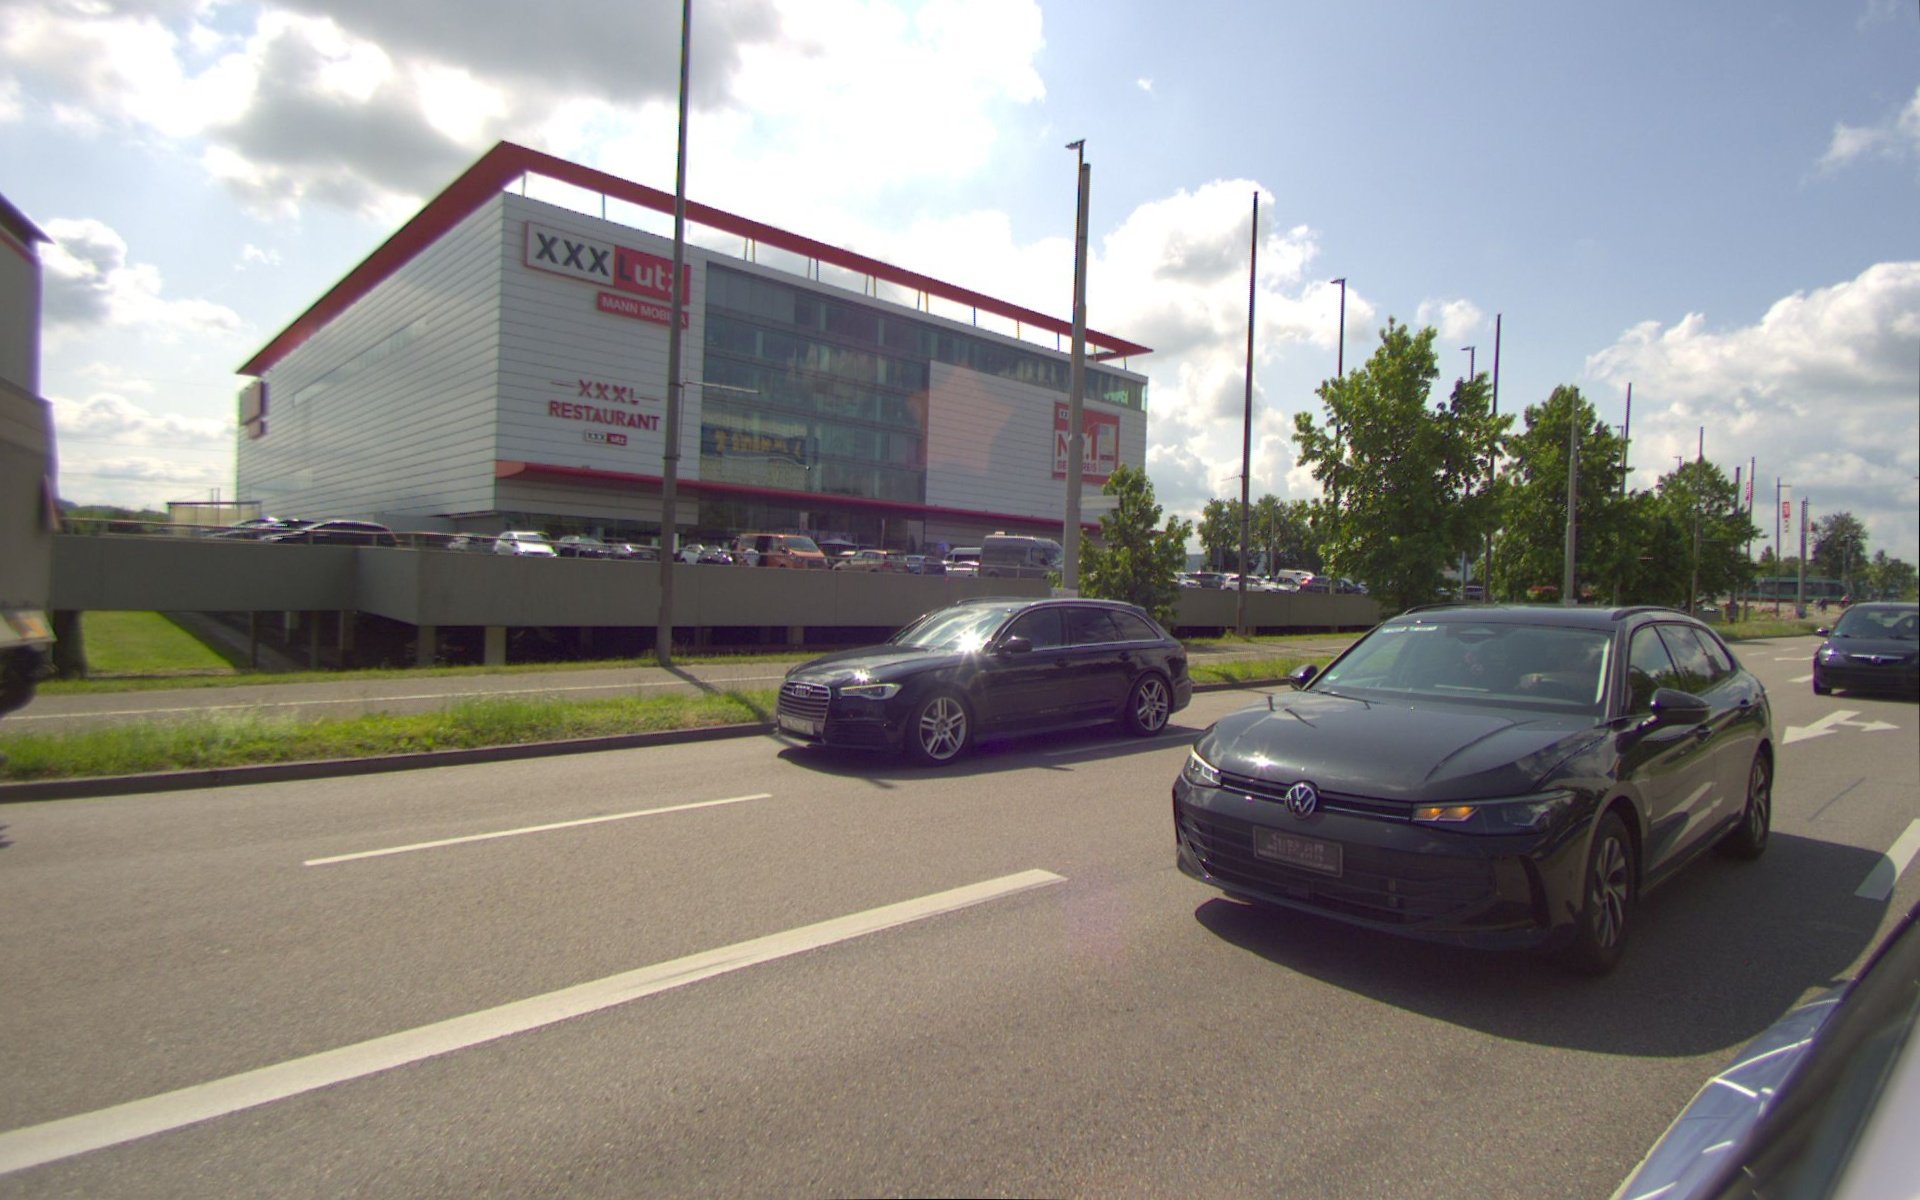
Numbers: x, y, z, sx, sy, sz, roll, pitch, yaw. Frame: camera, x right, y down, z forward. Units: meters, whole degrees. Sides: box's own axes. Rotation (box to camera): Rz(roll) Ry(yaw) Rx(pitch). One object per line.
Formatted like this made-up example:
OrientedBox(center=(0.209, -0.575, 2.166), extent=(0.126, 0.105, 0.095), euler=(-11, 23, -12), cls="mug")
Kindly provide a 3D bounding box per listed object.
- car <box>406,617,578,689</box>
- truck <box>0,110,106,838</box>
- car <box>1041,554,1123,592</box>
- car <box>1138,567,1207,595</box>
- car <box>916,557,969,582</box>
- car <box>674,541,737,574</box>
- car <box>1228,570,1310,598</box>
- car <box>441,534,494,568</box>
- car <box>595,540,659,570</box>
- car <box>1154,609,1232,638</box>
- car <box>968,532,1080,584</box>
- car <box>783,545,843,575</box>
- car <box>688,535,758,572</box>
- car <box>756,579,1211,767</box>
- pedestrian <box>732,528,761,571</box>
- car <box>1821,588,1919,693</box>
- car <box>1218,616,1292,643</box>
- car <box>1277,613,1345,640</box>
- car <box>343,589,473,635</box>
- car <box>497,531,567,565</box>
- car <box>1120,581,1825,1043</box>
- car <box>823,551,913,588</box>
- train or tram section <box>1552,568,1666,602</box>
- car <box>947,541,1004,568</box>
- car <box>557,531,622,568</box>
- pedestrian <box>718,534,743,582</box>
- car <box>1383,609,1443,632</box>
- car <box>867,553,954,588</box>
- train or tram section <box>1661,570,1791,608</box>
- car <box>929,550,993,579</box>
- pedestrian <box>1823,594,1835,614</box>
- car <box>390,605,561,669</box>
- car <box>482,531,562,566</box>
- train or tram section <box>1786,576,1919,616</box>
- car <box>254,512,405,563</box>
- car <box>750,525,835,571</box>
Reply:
OrientedBox(center=(-12.955, 1.397, 28.140), extent=(1.994, 1.772, 3.935), euler=(1, 1, 45), cls="car")
OrientedBox(center=(-9.463, -0.677, 3.910), extent=(8.884, 4.078, 3.228), euler=(0, 0, -27), cls="truck")
OrientedBox(center=(6.108, -1.322, 50.933), extent=(1.719, 1.816, 3.995), euler=(0, 1, -40), cls="car")
OrientedBox(center=(13.937, -1.257, 66.556), extent=(1.534, 1.786, 4.412), euler=(0, 1, -44), cls="car")
OrientedBox(center=(-1.243, -2.083, 70.574), extent=(1.915, 1.625, 4.430), euler=(0, 1, -27), cls="car")
OrientedBox(center=(-14.687, -2.392, 58.242), extent=(1.884, 1.772, 3.992), euler=(0, 1, -42), cls="car")
OrientedBox(center=(18.670, -0.950, 61.276), extent=(1.921, 1.625, 4.415), euler=(0, 1, -42), cls="car")
OrientedBox(center=(-28.771, -2.818, 59.069), extent=(1.534, 1.846, 4.412), euler=(0, 1, -44), cls="car")
OrientedBox(center=(-18.085, -2.420, 54.876), extent=(1.534, 1.489, 4.412), euler=(0, 1, -44), cls="car")
OrientedBox(center=(14.264, 1.406, 62.100), extent=(1.919, 1.625, 4.419), euler=(0, 1, -38), cls="car")
OrientedBox(center=(3.008, -1.960, 48.791), extent=(1.721, 2.312, 5.784), euler=(0, 1, -44), cls="car")
OrientedBox(center=(-9.245, -2.471, 63.599), extent=(1.884, 1.772, 3.992), euler=(0, 1, -42), cls="car")
OrientedBox(center=(-12.326, -2.365, 52.497), extent=(1.884, 1.772, 3.992), euler=(0, 1, -42), cls="car")
OrientedBox(center=(0.418, 0.565, 10.216), extent=(4.596, 1.496, 1.777), euler=(0, 1, -41), cls="car")
OrientedBox(center=(-9.096, -2.145, 43.092), extent=(1.014, 1.764, 0.698), euler=(0, 0, 36), cls="pedestrian")
OrientedBox(center=(15.731, 0.636, 16.839), extent=(4.196, 1.549, 1.605), euler=(1, 1, -42), cls="car")
OrientedBox(center=(19.621, 1.924, 67.393), extent=(1.922, 1.625, 4.413), euler=(0, 1, -43), cls="car")
OrientedBox(center=(24.971, 1.859, 72.157), extent=(1.534, 1.786, 4.412), euler=(0, 1, -44), cls="car")
OrientedBox(center=(-22.397, 0.449, 41.153), extent=(1.994, 1.772, 4.293), euler=(1, 1, 45), cls="car")
OrientedBox(center=(-22.495, -2.700, 53.099), extent=(1.923, 1.625, 4.412), euler=(0, 1, -44), cls="car")
OrientedBox(center=(3.236, 0.674, 5.683), extent=(5.114, 1.496, 1.811), euler=(0, 1, -42), cls="car")
OrientedBox(center=(-4.311, -1.381, 47.037), extent=(1.921, 1.625, 4.415), euler=(0, 1, -42), cls="car")
OrientedBox(center=(91.348, -2.078, 142.646), extent=(3.670, 4.618, 13.076), euler=(0, 1, -43), cls="train or tram section")
OrientedBox(center=(1.064, -3.172, 71.410), extent=(1.884, 1.772, 3.992), euler=(0, 1, -42), cls="car")
OrientedBox(center=(-19.441, -2.590, 52.994), extent=(1.884, 1.772, 3.992), euler=(0, 1, -42), cls="car")
OrientedBox(center=(-9.901, -1.795, 43.715), extent=(0.895, 2.039, 0.706), euler=(0, 0, 4), cls="pedestrian")
OrientedBox(center=(37.879, 1.716, 84.688), extent=(1.534, 1.786, 4.412), euler=(0, 1, -44), cls="car")
OrientedBox(center=(-2.446, -1.407, 49.125), extent=(1.920, 1.625, 4.417), euler=(0, 1, -40), cls="car")
OrientedBox(center=(100.378, -1.505, 132.910), extent=(3.670, 4.424, 13.081), euler=(0, 3, -43), cls="train or tram section")
OrientedBox(center=(0.031, -2.226, 64.649), extent=(1.884, 1.772, 3.992), euler=(0, 1, -42), cls="car")
OrientedBox(center=(81.869, 0.356, 95.333), extent=(0.696, 1.836, 0.541), euler=(0, 0, 22), cls="pedestrian")
OrientedBox(center=(-14.657, 1.051, 30.760), extent=(1.994, 1.772, 4.293), euler=(1, 1, 45), cls="car")
OrientedBox(center=(-20.082, -2.318, 46.348), extent=(1.923, 1.489, 4.412), euler=(0, 1, -44), cls="car")
OrientedBox(center=(109.351, -0.540, 123.379), extent=(3.670, 4.731, 13.076), euler=(0, 1, -43), cls="train or tram section")
OrientedBox(center=(-23.086, -2.236, 37.165), extent=(1.948, 1.625, 4.355), euler=(1, 1, 42), cls="car")
OrientedBox(center=(-7.214, -2.167, 43.310), extent=(1.881, 1.772, 4.187), euler=(0, 1, -36), cls="car")
